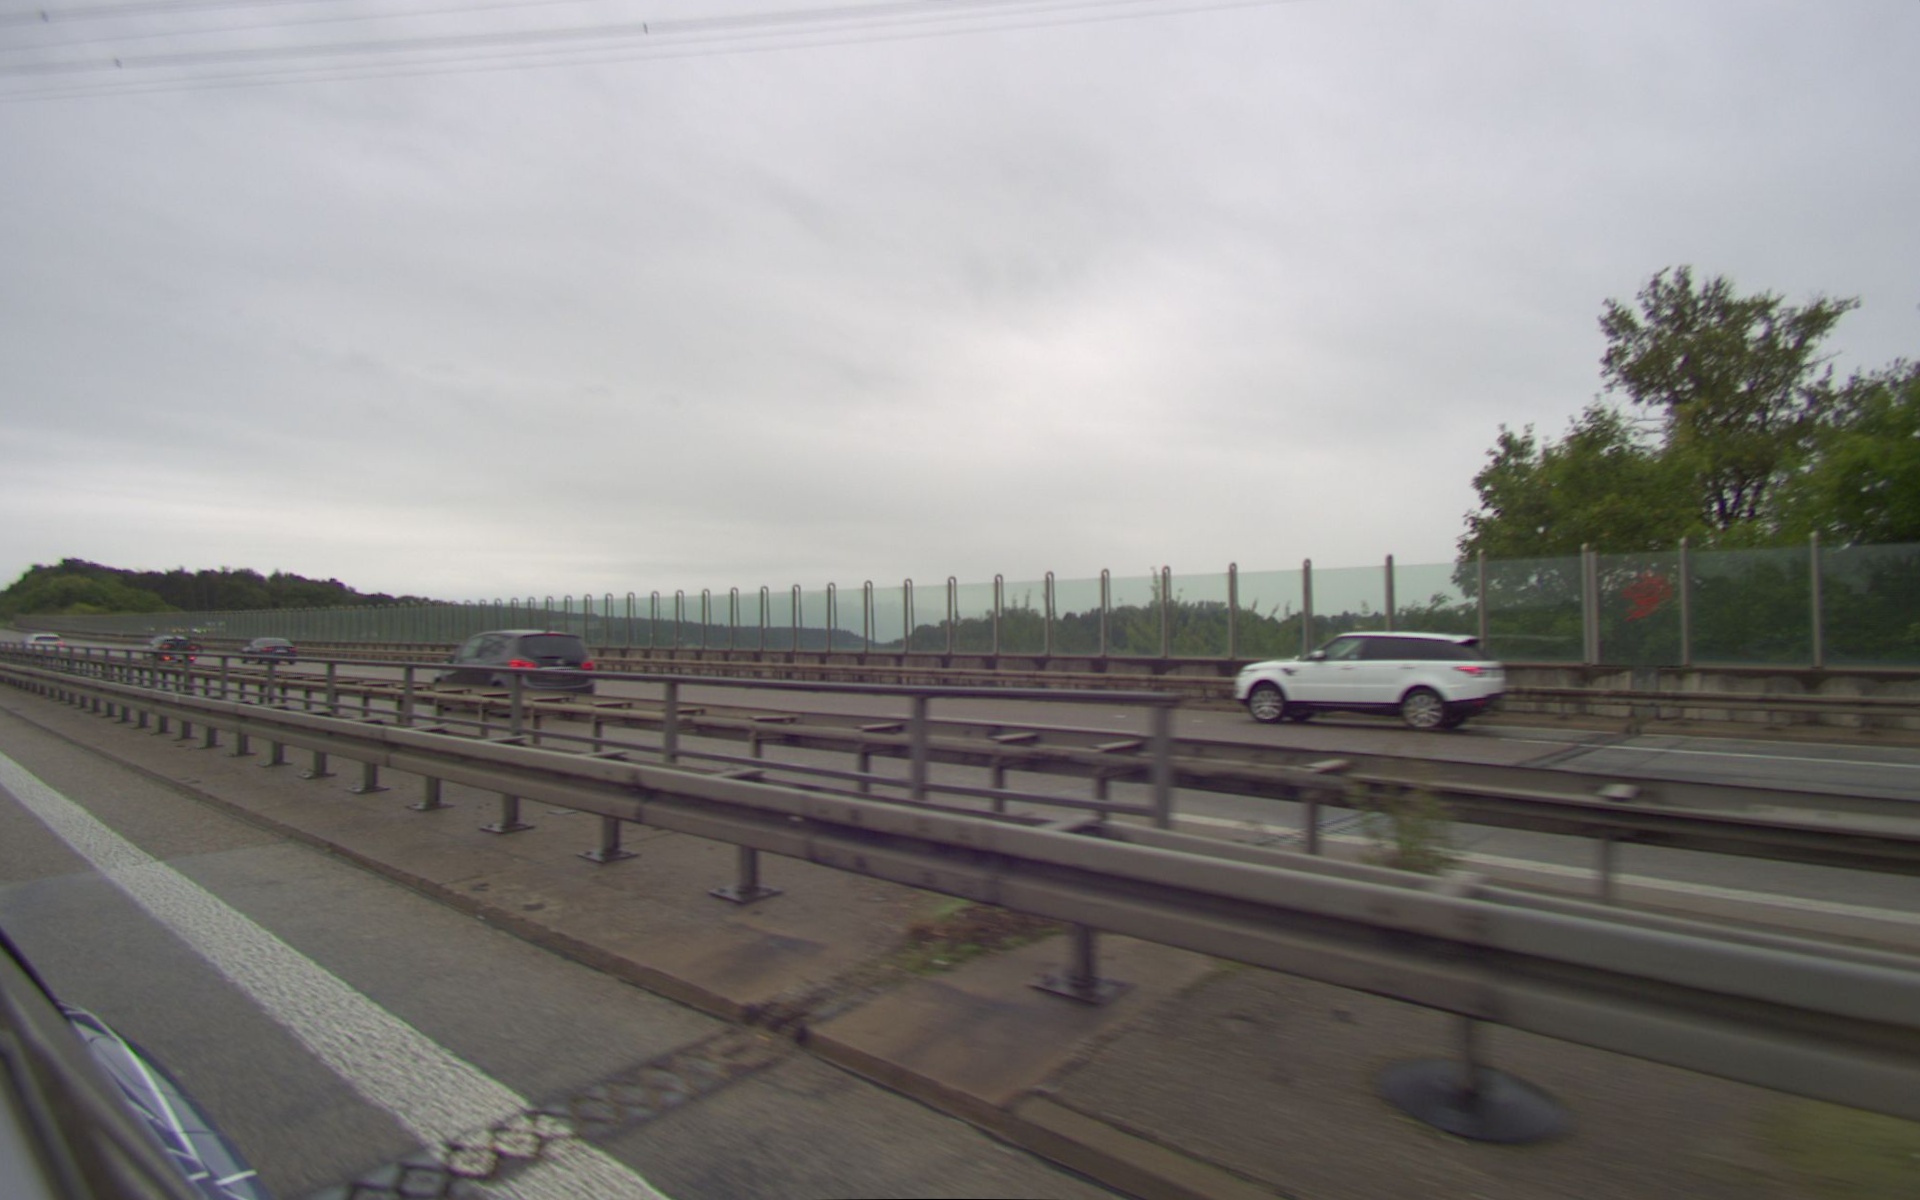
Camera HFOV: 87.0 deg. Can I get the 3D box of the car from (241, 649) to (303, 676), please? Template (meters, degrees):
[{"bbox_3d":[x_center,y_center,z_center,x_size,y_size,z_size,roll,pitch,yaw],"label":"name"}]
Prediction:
[{"bbox_3d":[-37.543,3.396,55.189,4.087,1.399,1.797,-2,-4,42],"label":"car"}]

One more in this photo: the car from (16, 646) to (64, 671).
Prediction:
[{"bbox_3d":[-55.399,3.531,60.930,4.087,1.448,1.639,-2,-4,42],"label":"car"}]

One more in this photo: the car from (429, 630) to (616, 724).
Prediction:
[{"bbox_3d":[-8.378,1.405,19.270,3.813,1.606,1.809,-2,-3,41],"label":"car"}]

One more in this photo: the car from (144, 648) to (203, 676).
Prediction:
[{"bbox_3d":[-43.165,3.372,55.532,4.087,1.448,1.797,-2,-4,42],"label":"car"}]

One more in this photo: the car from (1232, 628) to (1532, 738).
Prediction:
[{"bbox_3d":[7.927,1.502,19.329,4.913,1.833,1.929,-2,-3,40],"label":"car"}]
